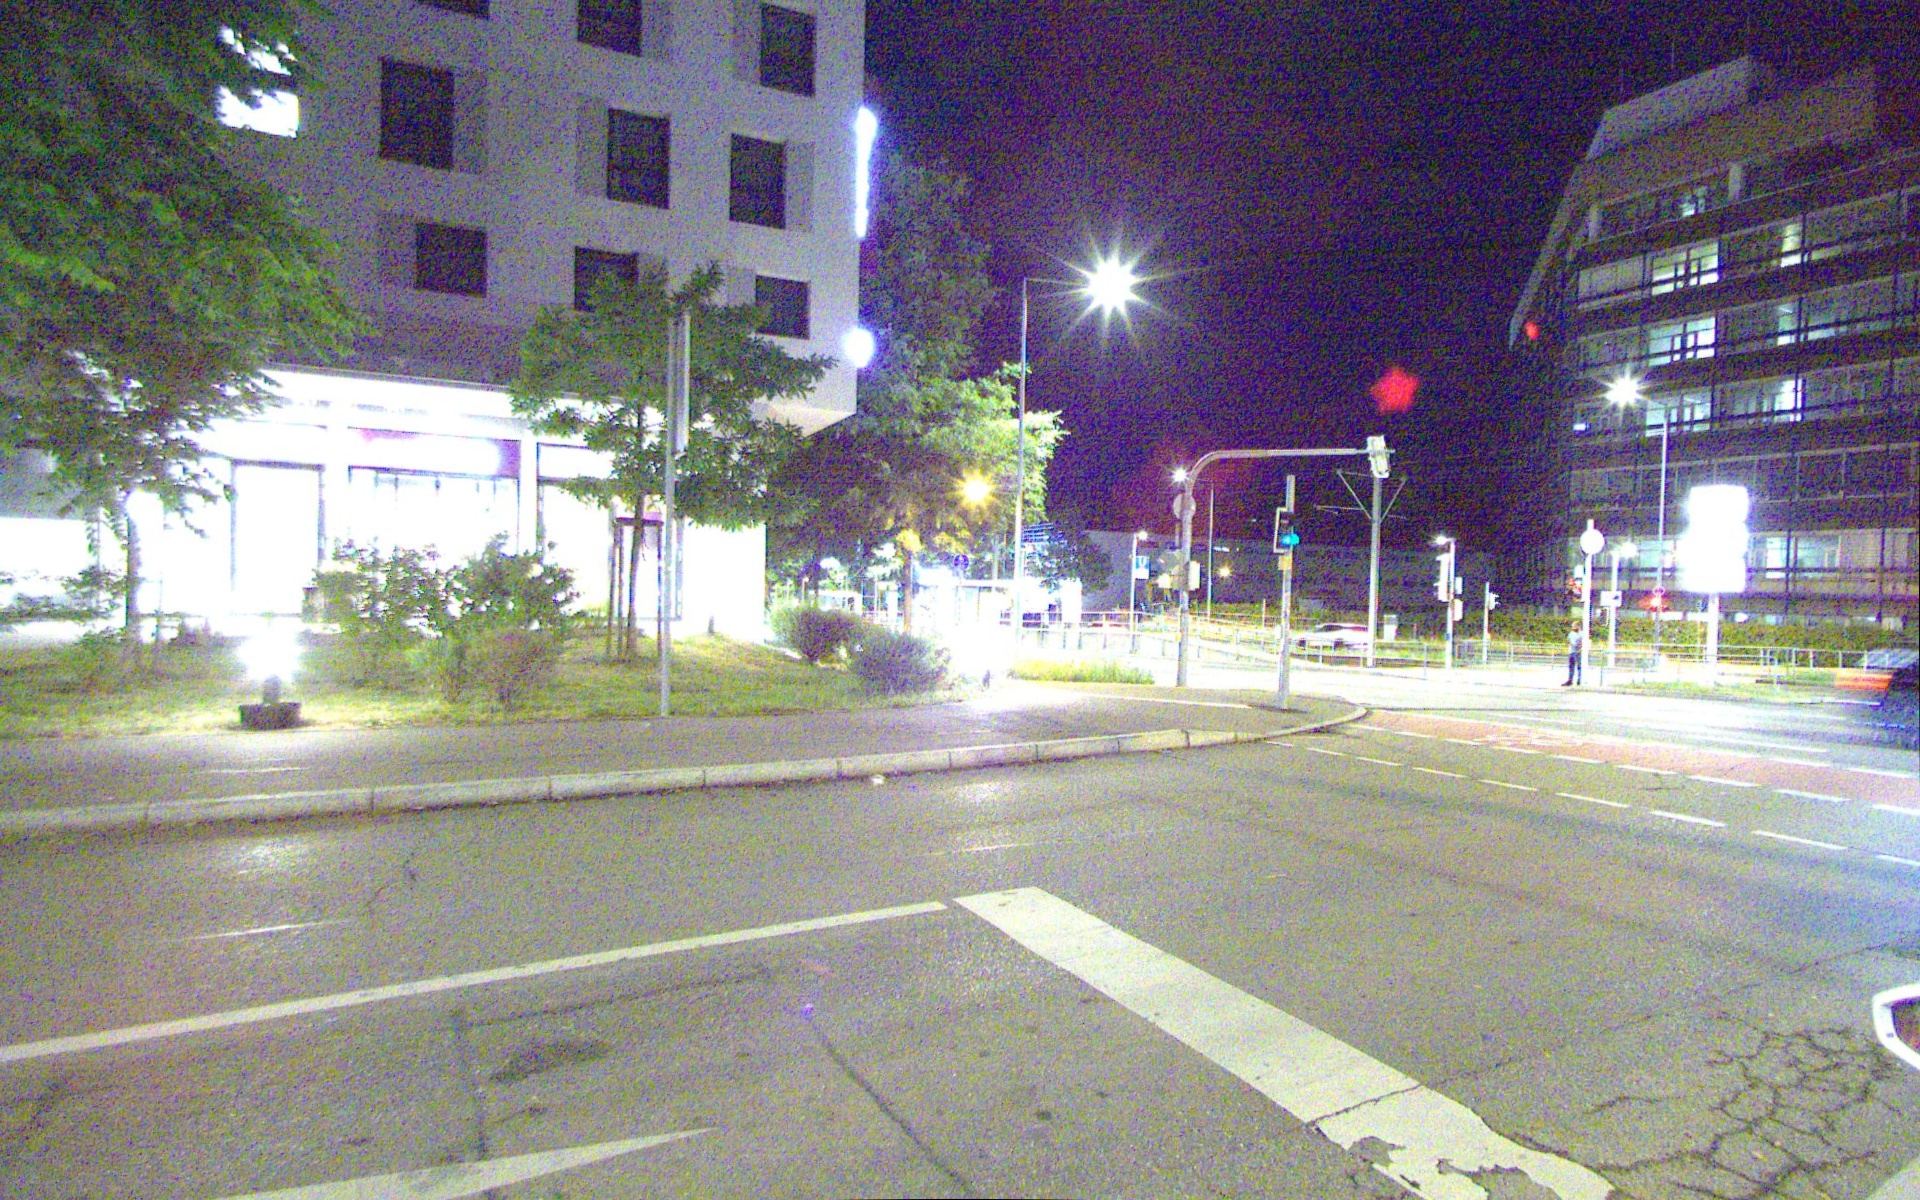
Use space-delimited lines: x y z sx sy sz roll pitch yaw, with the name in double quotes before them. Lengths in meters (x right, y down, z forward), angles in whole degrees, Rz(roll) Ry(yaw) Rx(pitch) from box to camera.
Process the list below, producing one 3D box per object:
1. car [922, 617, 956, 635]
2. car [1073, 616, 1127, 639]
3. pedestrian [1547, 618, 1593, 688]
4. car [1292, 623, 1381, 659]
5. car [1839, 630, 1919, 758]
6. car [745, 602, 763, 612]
"car" -2.023 2.505 96.396 1.845 1.506 3.822 3 0 -26
"car" 10.378 2.032 74.755 1.755 1.506 4.559 1 0 -26
"pedestrian" 15.679 1.352 25.822 0.692 1.745 0.679 2 0 0
"car" 20.294 2.172 54.336 1.916 1.665 4.382 3 0 -26
"car" 12.967 1.142 11.633 1.638 1.493 3.861 -2 0 -28
"car" -33.454 1.132 162.942 1.845 1.506 3.822 3 0 -26
